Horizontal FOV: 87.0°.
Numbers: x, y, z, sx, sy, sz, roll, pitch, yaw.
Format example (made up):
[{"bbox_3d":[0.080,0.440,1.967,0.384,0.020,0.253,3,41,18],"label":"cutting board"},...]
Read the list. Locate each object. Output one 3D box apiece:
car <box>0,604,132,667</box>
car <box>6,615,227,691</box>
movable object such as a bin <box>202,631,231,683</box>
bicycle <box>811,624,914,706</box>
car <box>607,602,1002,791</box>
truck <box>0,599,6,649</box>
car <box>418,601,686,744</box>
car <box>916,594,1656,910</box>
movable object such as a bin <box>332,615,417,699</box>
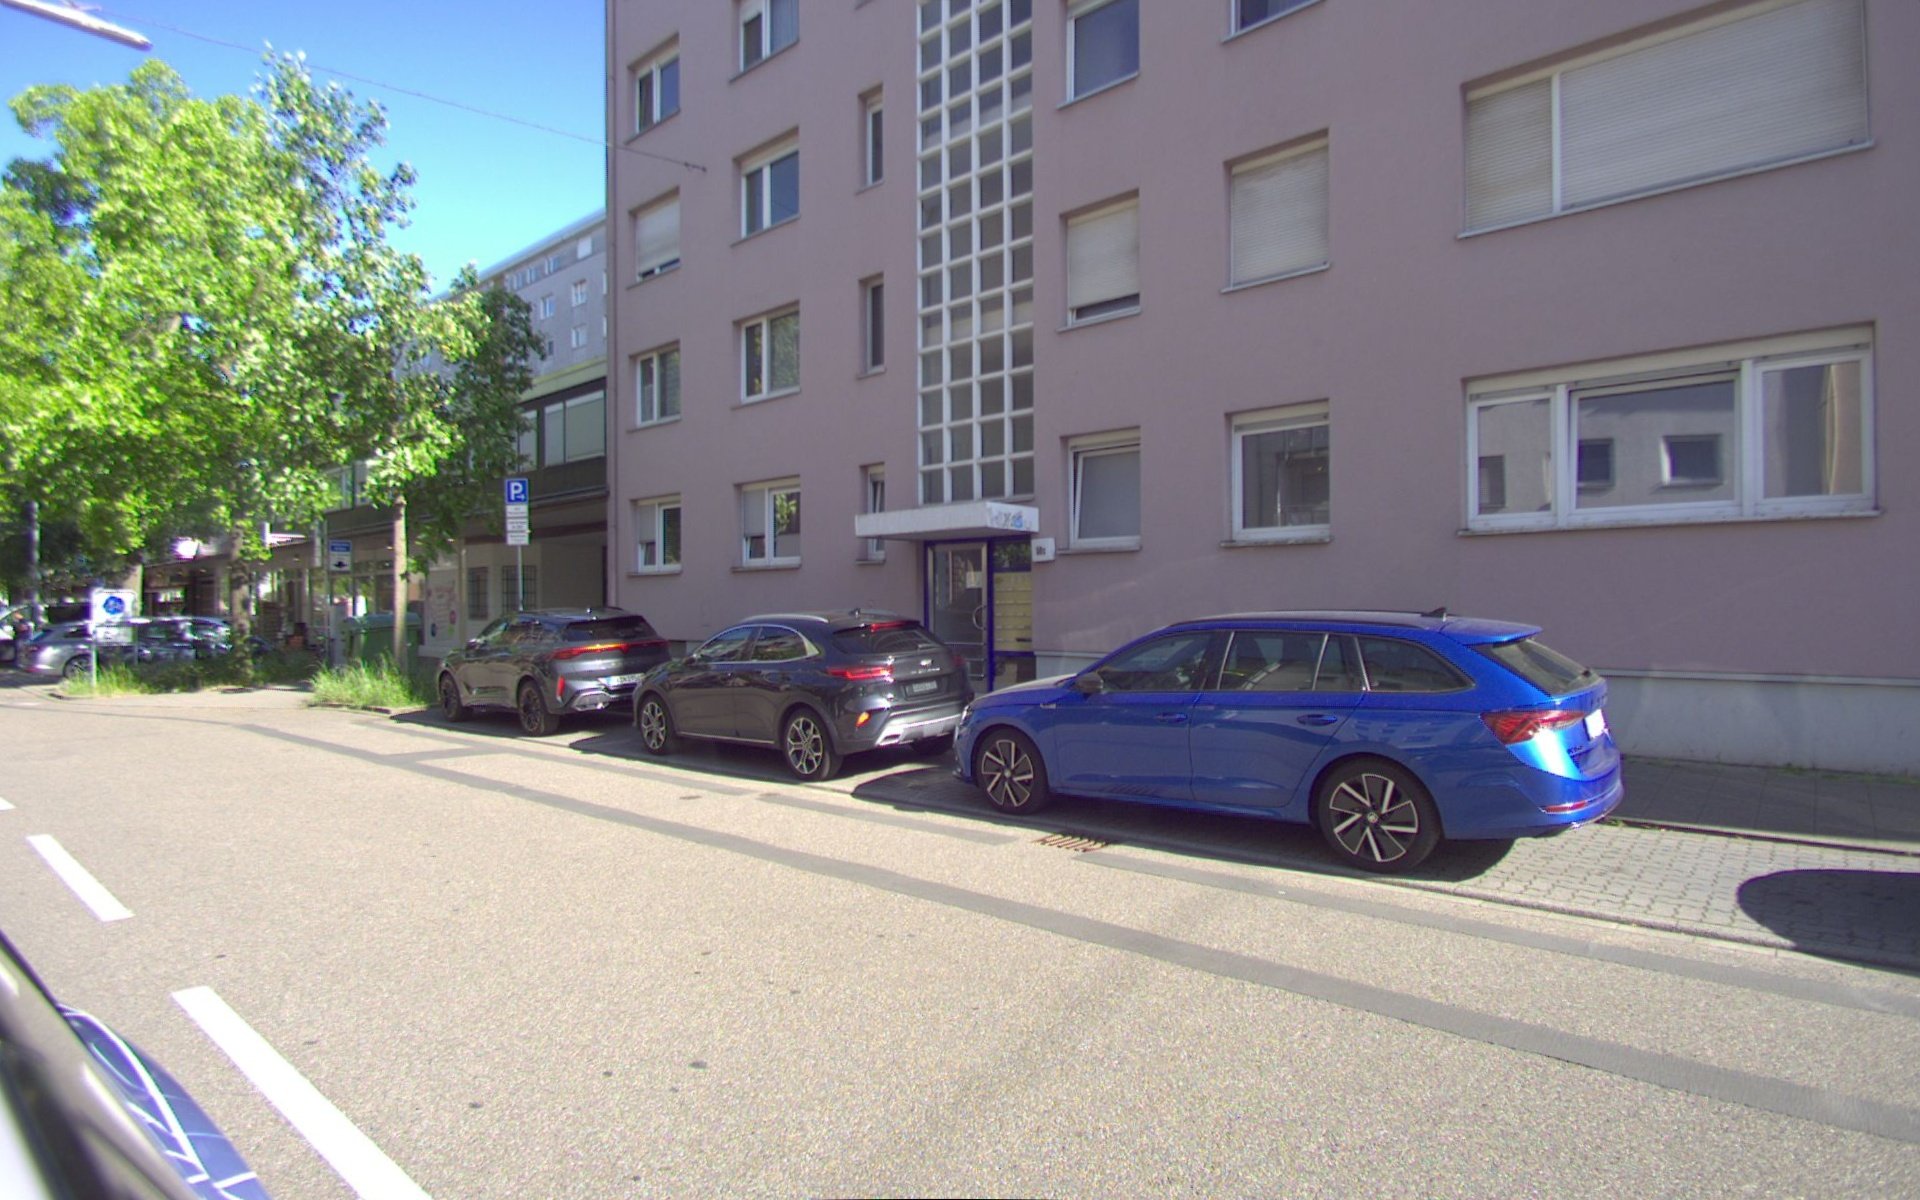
[{"bbox_3d":[-31.003,1.179,34.591,1.999,2.047,3.945,-1,-1,41],"label":"car"},{"bbox_3d":[-20.693,1.232,24.930,1.999,1.687,3.945,-1,-1,41],"label":"car"},{"bbox_3d":[-18.209,1.387,24.784,0.409,1.234,0.482,-1,-1,41],"label":"movable object such as a bin"},{"bbox_3d":[-1.412,0.896,14.468,1.649,1.084,0.386,-1,3,42],"label":"bicycle"},{"bbox_3d":[-1.773,0.840,10.557,4.245,1.519,1.798,-1,1,43],"label":"car"},{"bbox_3d":[-52.119,1.263,51.239,1.993,2.615,5.266,-1,-1,31],"label":"truck"},{"bbox_3d":[-5.777,0.894,14.089,4.141,1.604,1.798,-1,2,43],"label":"car"},{"bbox_3d":[1.971,0.774,7.079,4.610,1.476,1.700,-1,1,41],"label":"car"},{"bbox_3d":[-11.298,1.068,19.532,1.230,1.557,1.019,0,-1,-44],"label":"movable object such as a bin"}]
